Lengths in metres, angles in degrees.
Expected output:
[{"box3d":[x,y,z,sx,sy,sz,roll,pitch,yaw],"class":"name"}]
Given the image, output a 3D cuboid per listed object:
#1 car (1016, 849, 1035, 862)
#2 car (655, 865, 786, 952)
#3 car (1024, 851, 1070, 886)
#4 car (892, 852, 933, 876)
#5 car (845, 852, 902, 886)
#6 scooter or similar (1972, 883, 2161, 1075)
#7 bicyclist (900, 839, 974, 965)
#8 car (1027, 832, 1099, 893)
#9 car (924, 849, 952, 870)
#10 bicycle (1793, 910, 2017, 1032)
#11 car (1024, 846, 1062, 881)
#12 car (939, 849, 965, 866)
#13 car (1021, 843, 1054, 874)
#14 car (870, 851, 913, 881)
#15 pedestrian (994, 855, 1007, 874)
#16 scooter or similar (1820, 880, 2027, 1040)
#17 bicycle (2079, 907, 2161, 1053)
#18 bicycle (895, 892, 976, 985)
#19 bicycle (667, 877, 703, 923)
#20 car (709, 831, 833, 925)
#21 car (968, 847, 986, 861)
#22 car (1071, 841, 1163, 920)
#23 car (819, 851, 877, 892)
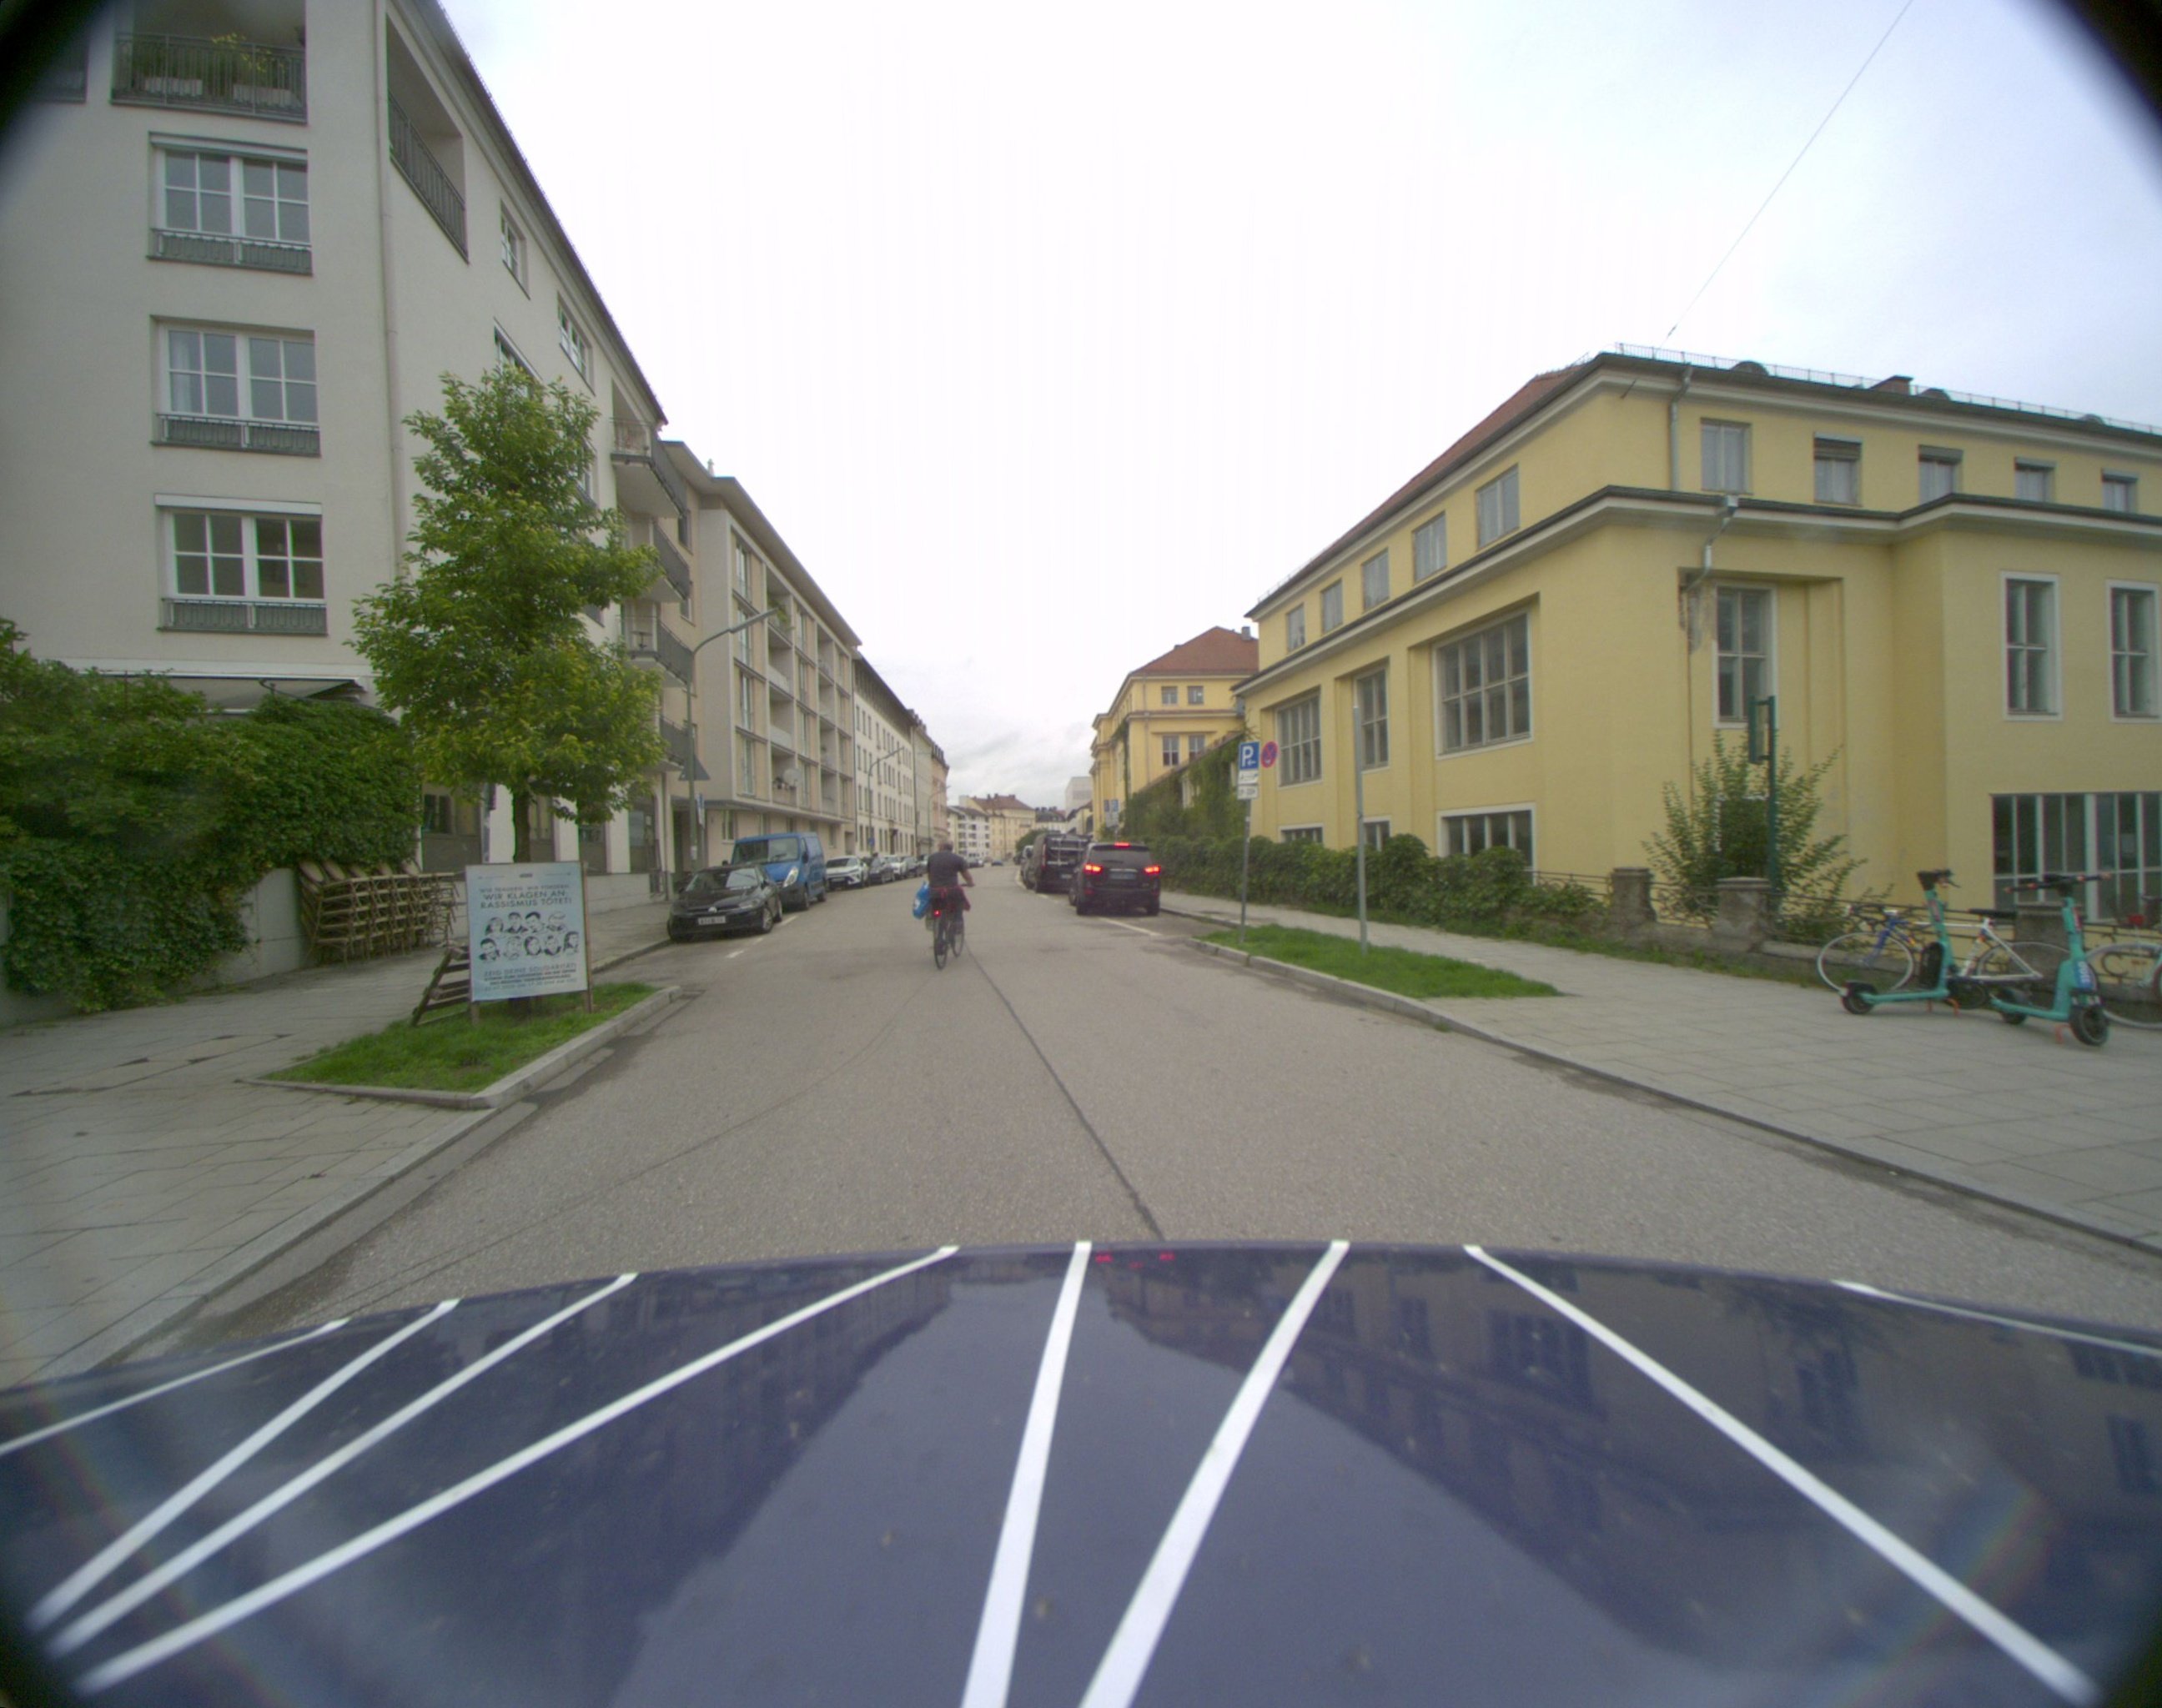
[{"box3d":[-10.851,0.325,147.746,2.849,2.536,6.887,-1,0,-10],"class":"car"},{"box3d":[-7.427,1.027,16.039,1.720,1.387,3.994,-5,2,-16],"class":"car"},{"box3d":[-1.538,0.595,32.928,1.712,1.357,3.999,3,-1,-6],"class":"car"},{"box3d":[-10.815,0.634,49.019,1.832,1.373,4.489,-4,0,-4],"class":"car"},{"box3d":[-10.488,0.721,38.798,1.777,1.421,4.691,-6,1,-4],"class":"car"},{"box3d":[7.292,0.858,5.609,0.438,1.206,1.054,0,3,20],"class":"scooter or similar"},{"box3d":[-1.932,0.615,10.338,0.878,1.600,1.049,-1,0,-7],"class":"bicyclist"},{"box3d":[-0.759,0.299,27.493,1.932,1.967,4.618,1,0,-10],"class":"car"},{"box3d":[-11.274,0.431,60.068,1.619,1.508,3.379,-5,0,-3],"class":"car"},{"box3d":[7.597,1.039,7.071,0.435,0.888,1.327,-2,3,-31],"class":"bicycle"},{"box3d":[-1.962,0.431,38.061,1.707,1.597,4.488,2,0,-5],"class":"car"},{"box3d":[-11.811,0.312,69.734,1.879,1.439,4.698,-3,0,-5],"class":"car"},{"box3d":[-2.805,0.291,48.725,1.898,1.788,4.879,3,0,-4],"class":"car"},{"box3d":[-10.912,0.646,43.963,1.707,1.460,4.117,-6,1,-6],"class":"car"},{"box3d":[-12.703,1.622,119.578,1.930,2.933,2.024,-1,0,-4],"class":"pedestrian"},{"box3d":[6.999,0.866,6.335,1.263,1.237,0.394,-1,3,-1],"class":"scooter or similar"},{"box3d":[8.707,0.989,5.858,1.188,1.105,0.301,0,2,29],"class":"bicycle"},{"box3d":[-1.932,1.089,10.404,0.879,1.013,2.189,-1,0,-6],"class":"bicycle"},{"box3d":[-9.952,1.134,19.150,0.567,1.063,1.784,-1,0,-21],"class":"bicycle"},{"box3d":[-8.820,0.532,22.162,2.116,2.202,5.022,-6,3,-10],"class":"car"},{"box3d":[-12.759,0.047,93.699,1.769,1.531,3.999,-4,0,-3],"class":"car"},{"box3d":[0.779,0.589,19.133,1.999,1.709,4.614,-1,0,-1],"class":"car"},{"box3d":[-10.230,0.740,33.662,1.781,1.514,4.300,-6,0,-10],"class":"car"}]
